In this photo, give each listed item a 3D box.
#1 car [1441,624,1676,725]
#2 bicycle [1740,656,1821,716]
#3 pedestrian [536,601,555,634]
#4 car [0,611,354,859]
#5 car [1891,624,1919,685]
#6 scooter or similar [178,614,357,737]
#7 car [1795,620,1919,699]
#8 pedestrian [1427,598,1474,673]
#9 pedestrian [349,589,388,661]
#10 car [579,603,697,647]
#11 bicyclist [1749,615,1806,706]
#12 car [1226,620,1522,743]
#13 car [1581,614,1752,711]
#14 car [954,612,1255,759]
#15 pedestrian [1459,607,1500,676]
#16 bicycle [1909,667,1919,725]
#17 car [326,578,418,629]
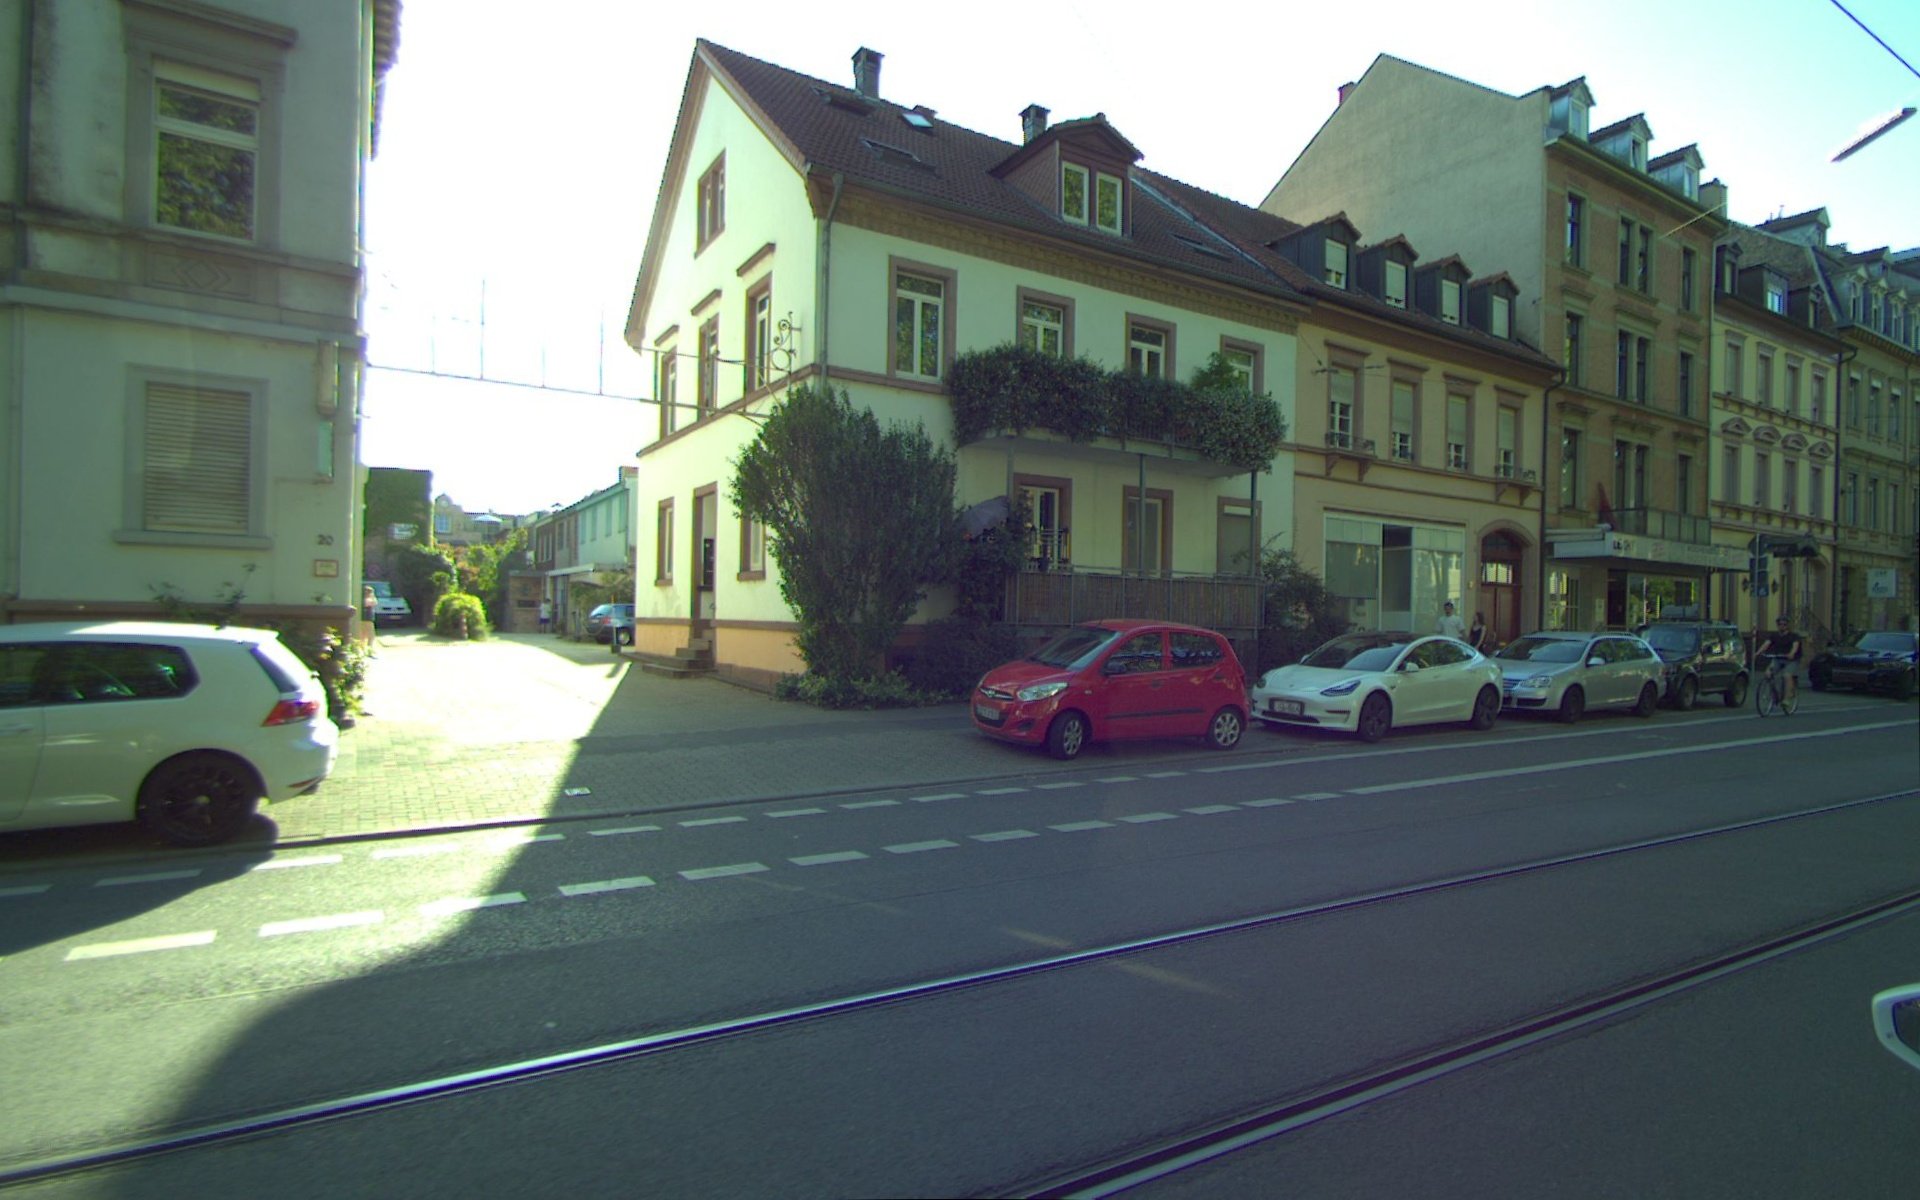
[{"bbox_3d":[10.734,1.255,17.941,4.401,1.523,1.817,1,1,-33],"label":"car"},{"bbox_3d":[15.451,1.600,18.895,2.015,1.061,0.482,1,-2,-30],"label":"bicycle"},{"bbox_3d":[-19.958,0.845,48.355,0.551,1.548,0.556,2,1,19],"label":"pedestrian"},{"bbox_3d":[-6.635,0.855,6.886,4.210,1.496,1.677,1,1,-32],"label":"car"},{"bbox_3d":[30.877,1.719,31.126,4.423,1.805,1.953,2,0,-33],"label":"car"},{"bbox_3d":[-7.656,0.824,11.168,1.552,1.297,0.445,1,-1,-23],"label":"scooter or similar"},{"bbox_3d":[24.440,1.539,26.772,4.885,1.805,1.952,2,2,-34],"label":"car"},{"bbox_3d":[11.224,0.805,22.982,0.763,1.656,0.653,2,1,43],"label":"pedestrian"},{"bbox_3d":[-13.938,0.585,23.691,0.585,1.661,0.503,1,0,18],"label":"pedestrian"},{"bbox_3d":[-11.035,0.843,34.584,1.600,1.424,3.563,1,-1,42],"label":"car"},{"bbox_3d":[15.371,1.133,18.890,0.886,1.656,0.533,2,-3,-30],"label":"bicyclist"},{"bbox_3d":[6.291,1.122,15.071,4.639,1.523,1.816,1,1,-34],"label":"car"},{"bbox_3d":[14.392,1.222,20.415,3.645,1.755,1.547,1,1,-33],"label":"car"},{"bbox_3d":[1.791,0.967,12.367,3.405,1.583,1.563,1,-1,-28],"label":"car"},{"bbox_3d":[11.579,0.908,22.393,0.628,1.480,0.653,2,1,43],"label":"pedestrian"},{"bbox_3d":[16.771,1.611,16.993,1.899,0.955,0.496,1,-2,-30],"label":"bicycle"},{"bbox_3d":[-25.409,0.135,43.413,3.768,2.019,1.803,2,1,30],"label":"car"}]
